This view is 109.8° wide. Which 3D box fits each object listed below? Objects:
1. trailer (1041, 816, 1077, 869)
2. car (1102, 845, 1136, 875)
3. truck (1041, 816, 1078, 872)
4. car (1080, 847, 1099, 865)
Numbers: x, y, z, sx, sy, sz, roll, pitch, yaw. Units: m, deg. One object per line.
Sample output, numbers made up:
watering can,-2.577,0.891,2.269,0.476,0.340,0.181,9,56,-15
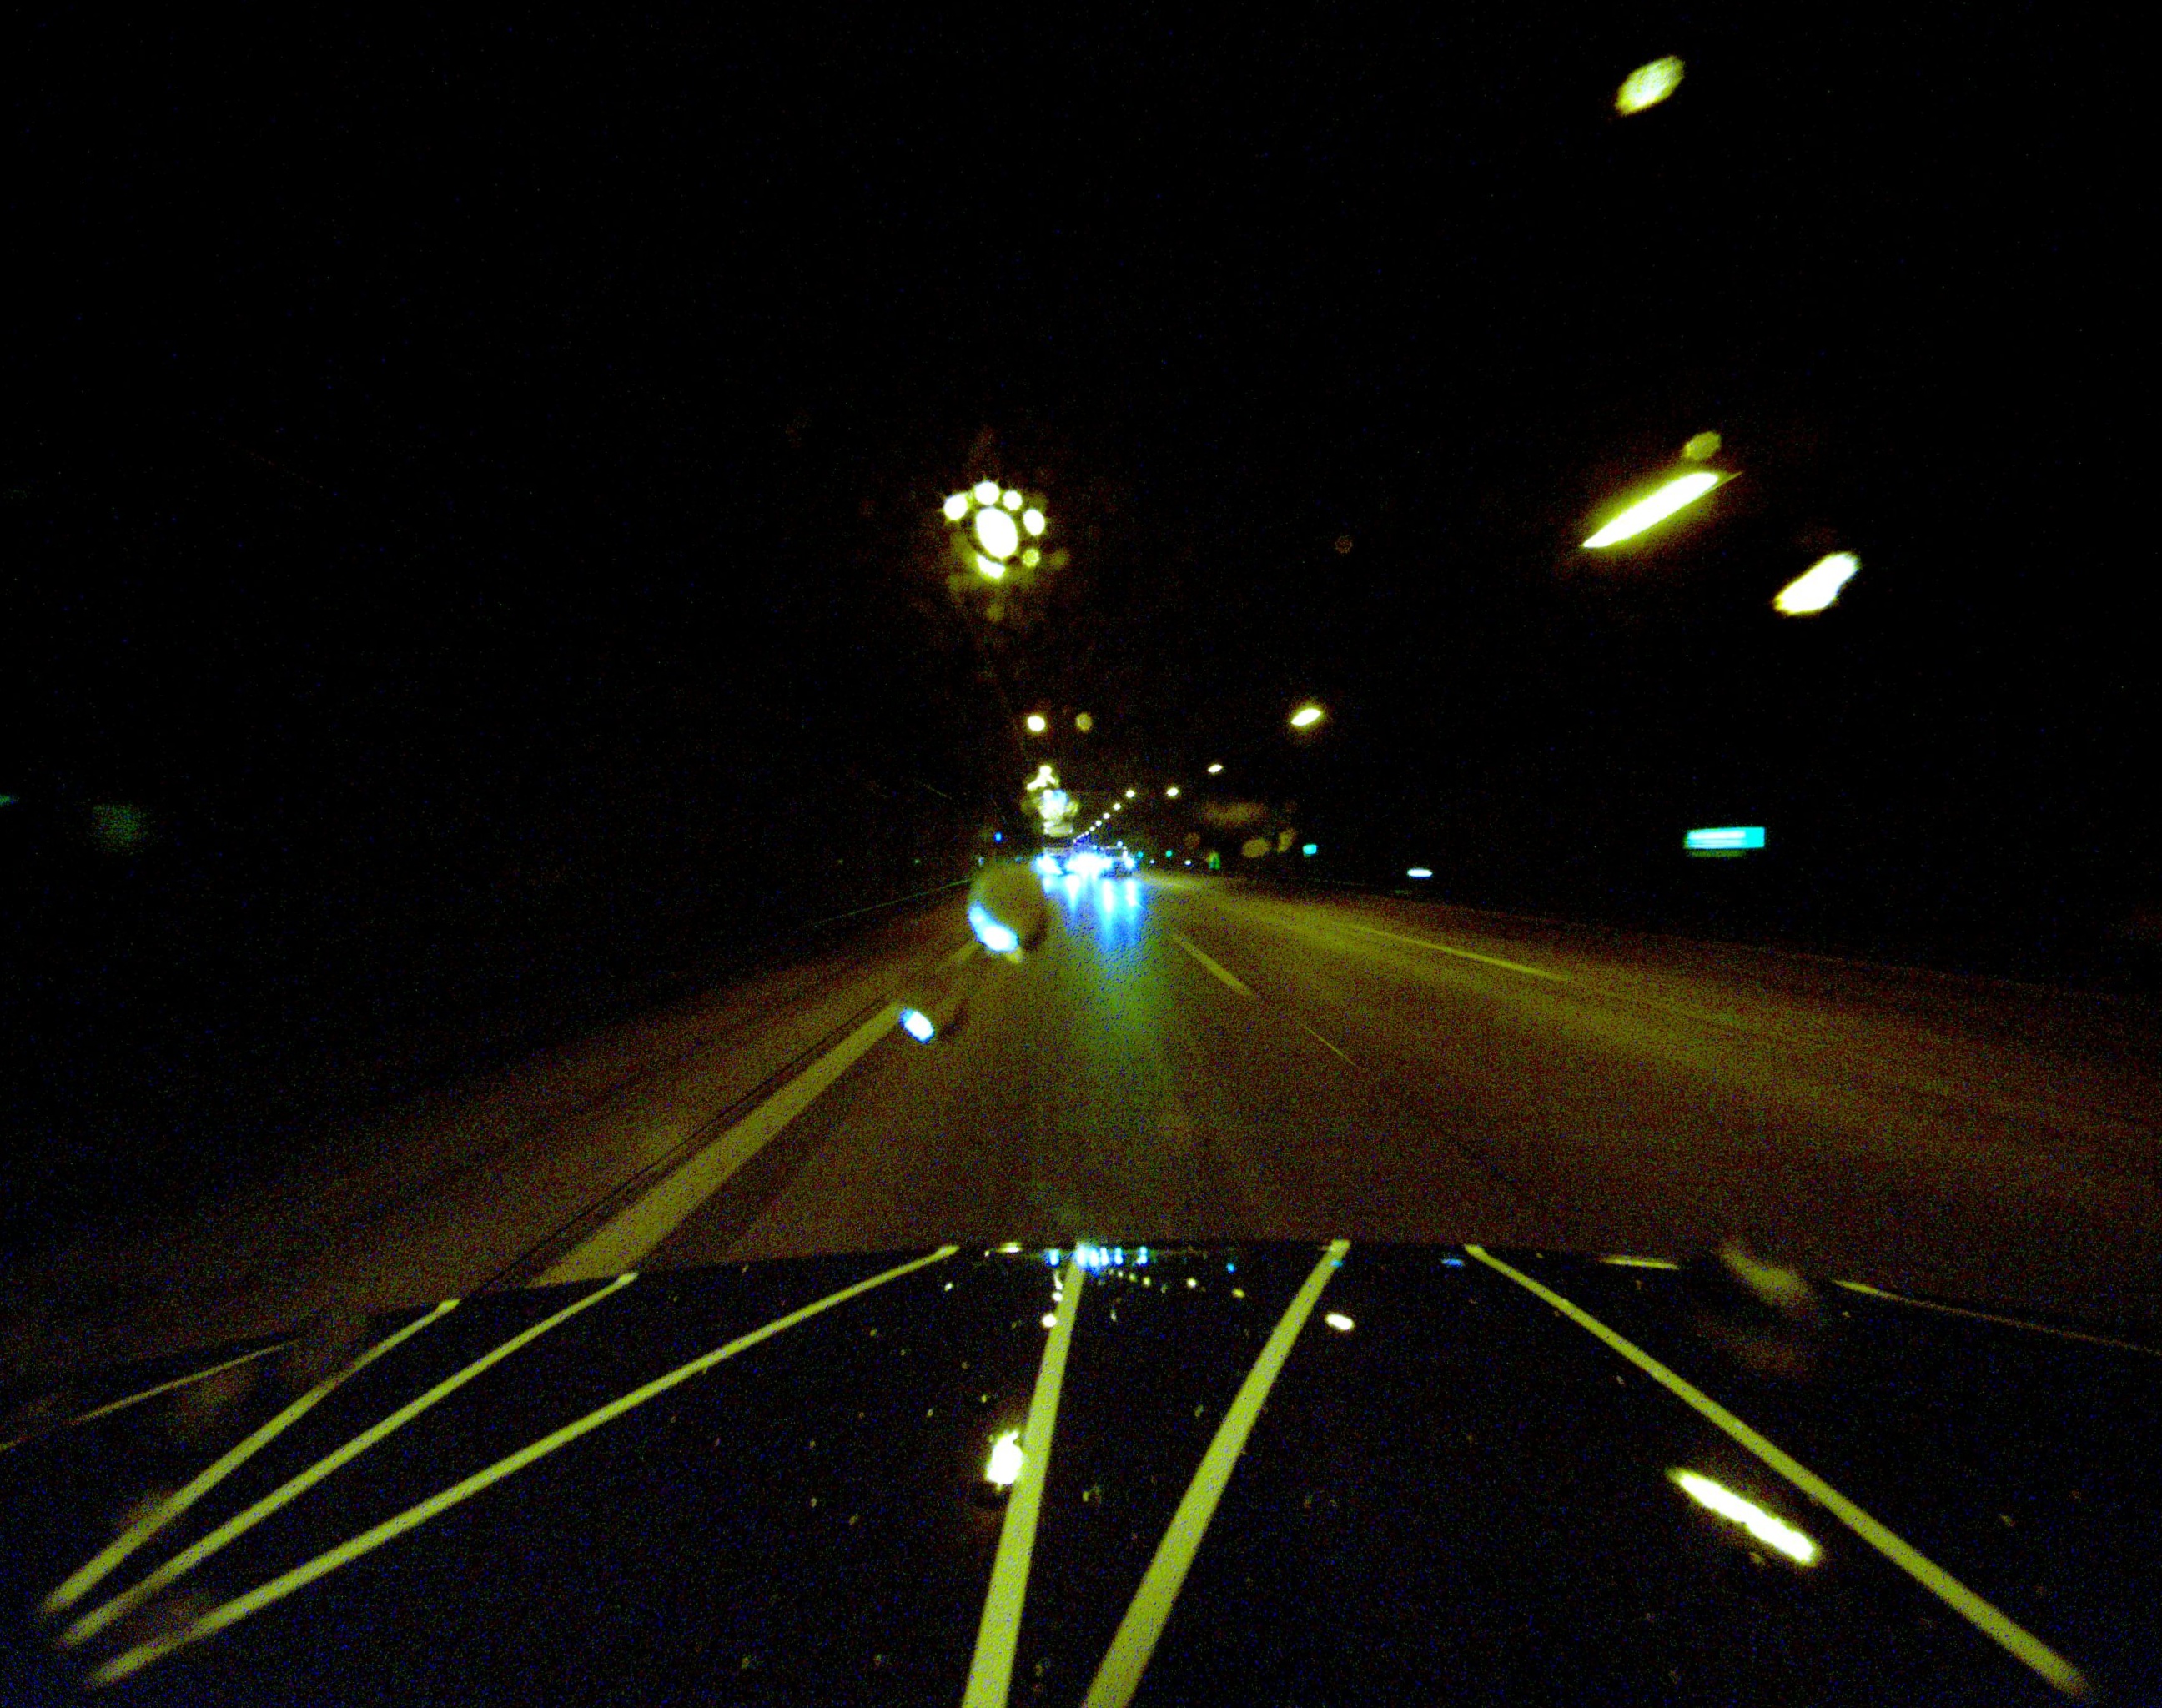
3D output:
trailer,-2.143,-0.915,67.222,2.628,4.139,13.995,2,0,-4
car,2.510,0.356,51.235,1.998,1.890,4.000,-2,0,0
truck,-1.748,-0.796,61.016,2.653,4.139,6.003,2,1,-3
car,0.913,0.156,84.598,1.998,1.890,3.999,-2,1,0
